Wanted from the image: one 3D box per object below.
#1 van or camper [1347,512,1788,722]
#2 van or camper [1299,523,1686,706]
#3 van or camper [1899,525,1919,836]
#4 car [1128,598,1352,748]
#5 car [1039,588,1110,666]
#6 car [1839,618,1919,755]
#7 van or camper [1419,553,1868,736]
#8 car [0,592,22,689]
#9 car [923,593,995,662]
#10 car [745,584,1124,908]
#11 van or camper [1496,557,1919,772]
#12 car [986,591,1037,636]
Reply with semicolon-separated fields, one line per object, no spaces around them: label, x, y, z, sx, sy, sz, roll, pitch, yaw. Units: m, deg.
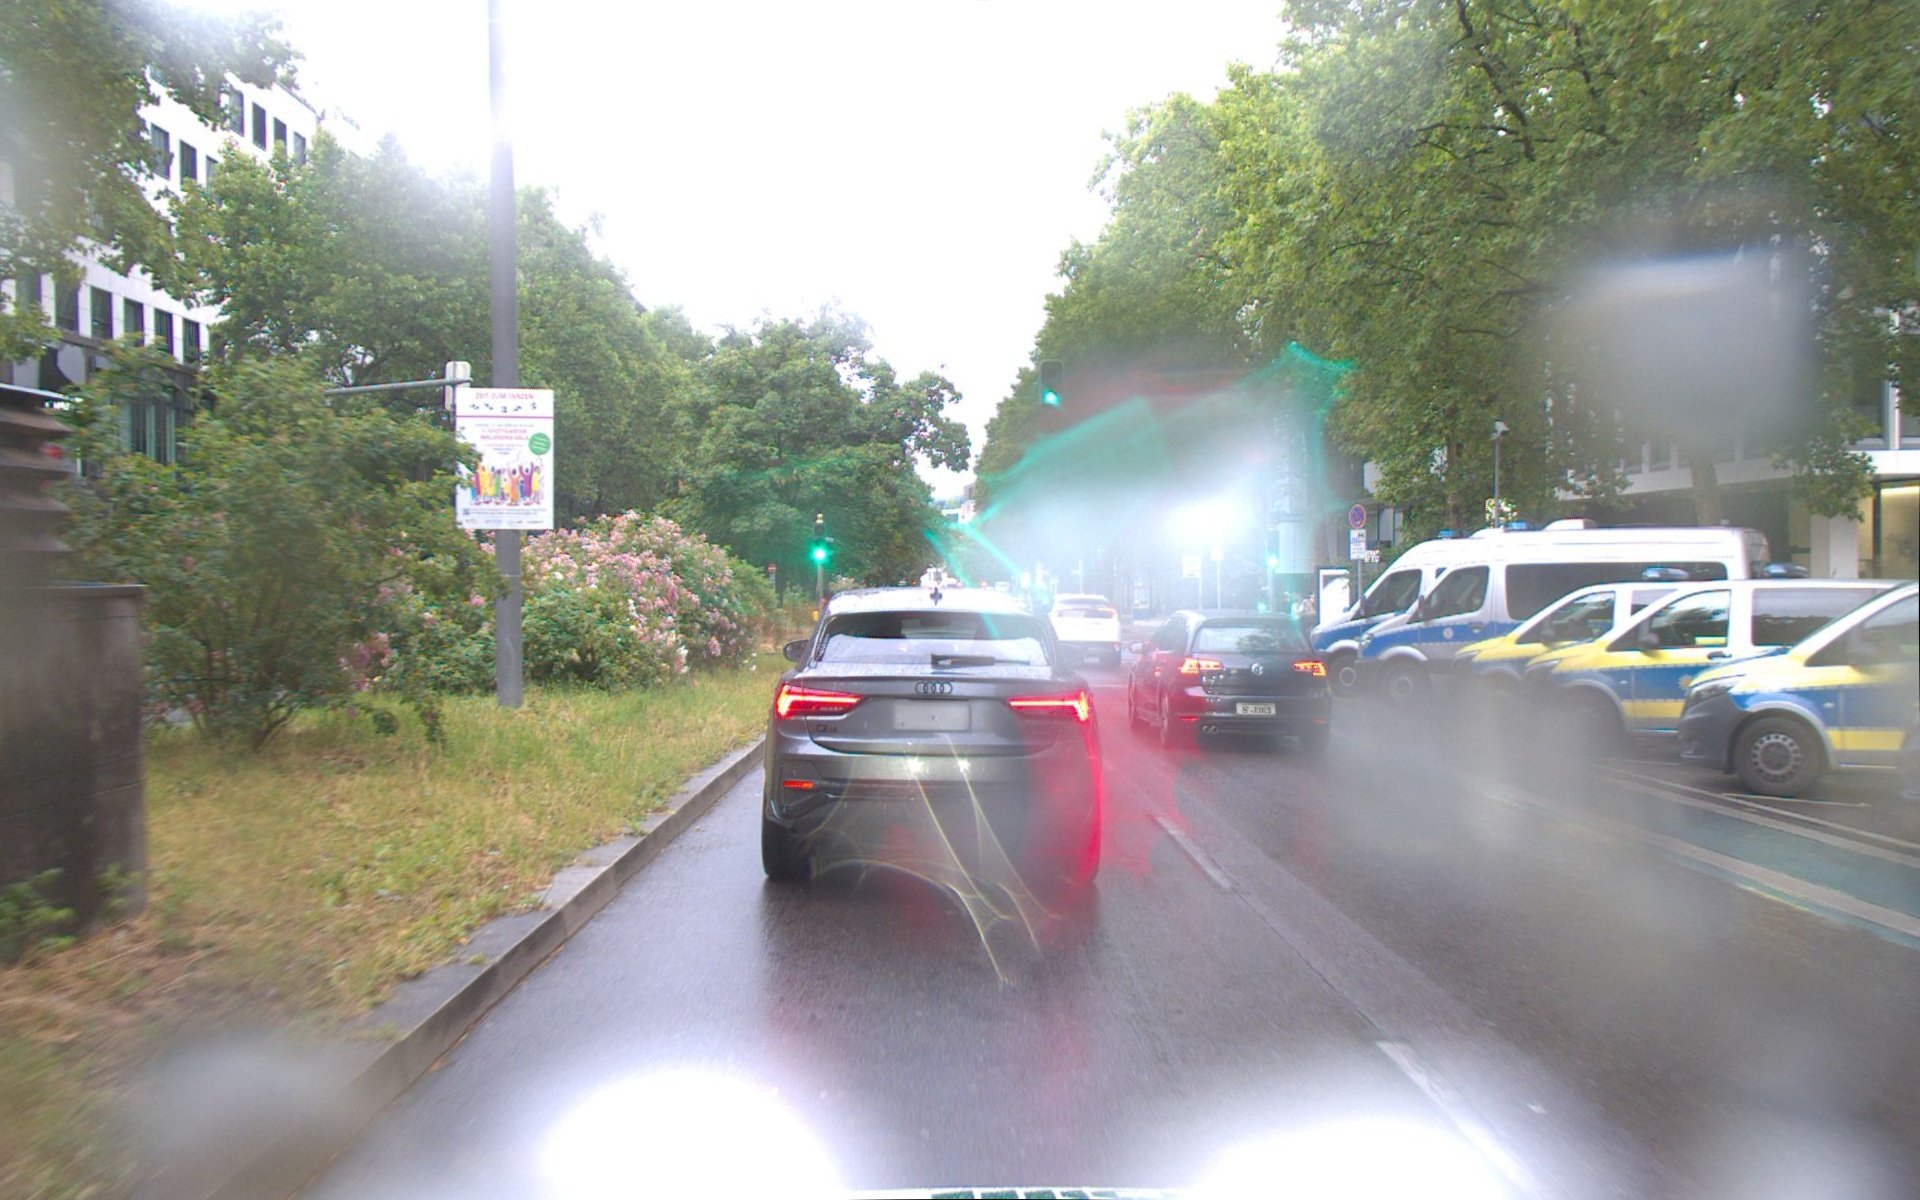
van or camper;8.696;0.220;23.968;5.693;2.727;1.993;0;0;35
van or camper;8.642;0.200;27.160;5.701;2.724;2.138;0;0;37
van or camper;8.863;0.537;10.343;5.007;2.060;2.097;0;0;37
car;2.973;0.722;18.369;1.729;1.437;3.999;-1;0;-1
car;2.648;0.595;38.640;1.404;1.714;2.979;-1;0;0
car;10.662;0.924;17.731;1.029;1.412;2.693;-1;0;0
van or camper;8.495;0.525;20.757;4.915;2.049;1.993;0;-1;35
car;-16.139;0.659;24.587;1.954;1.535;4.516;-1;0;-3
car;-0.049;0.631;40.862;1.686;1.605;3.961;0;0;-1
car;-0.102;0.689;10.237;1.825;1.559;4.527;0;0;0
van or camper;8.431;0.603;17.181;5.102;2.027;1.994;1;-1;34
car;2.131;0.543;69.036;1.953;1.780;4.000;0;0;0
